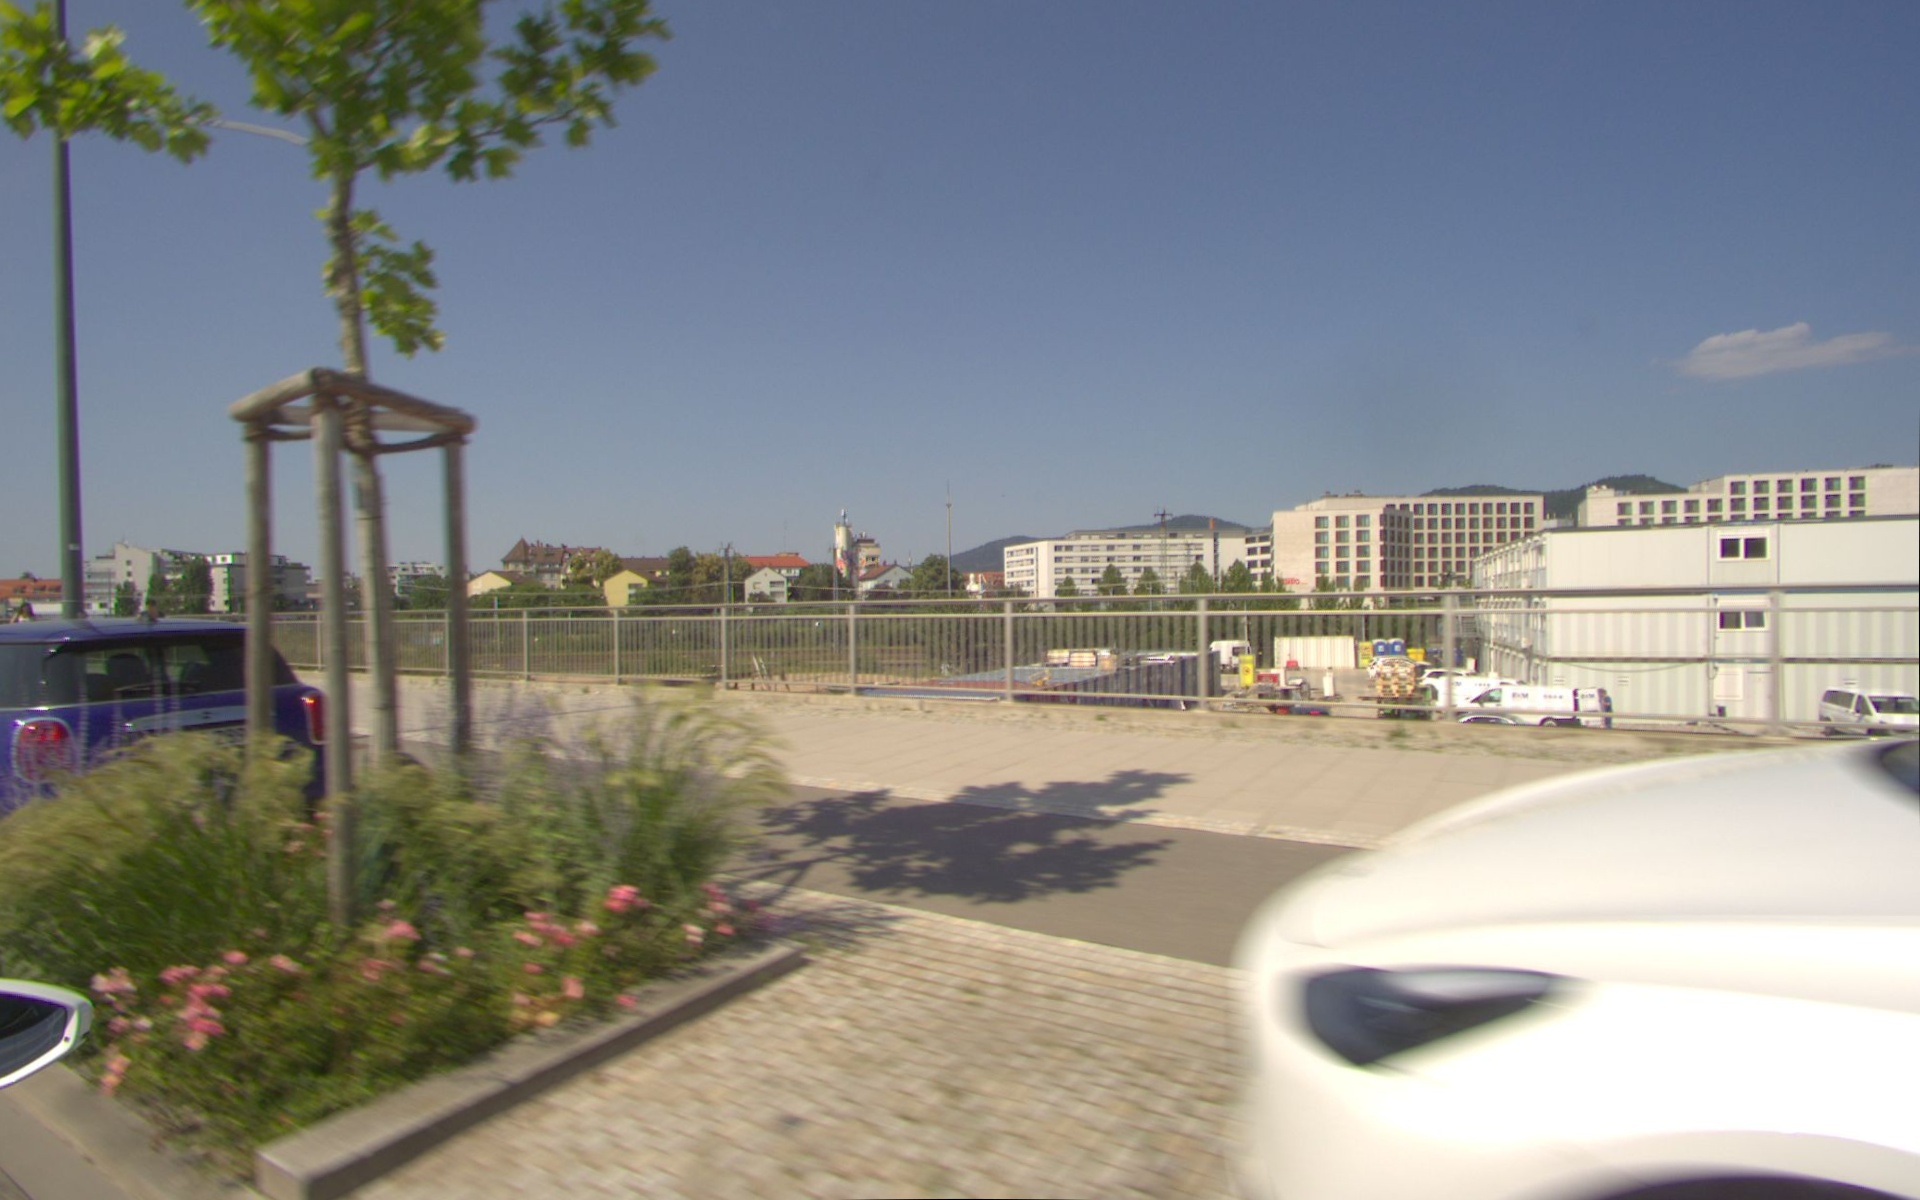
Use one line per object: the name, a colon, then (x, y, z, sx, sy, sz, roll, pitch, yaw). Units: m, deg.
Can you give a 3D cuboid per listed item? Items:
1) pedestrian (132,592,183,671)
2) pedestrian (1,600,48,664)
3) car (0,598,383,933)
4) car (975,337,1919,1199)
pedestrian: (-17.930, 0.709, 22.385, 0.642, 1.727, 0.730, -2, -2, 33)
pedestrian: (-25.939, 0.884, 27.767, 0.731, 1.727, 0.779, -1, -1, 33)
car: (-5.634, 0.757, 6.262, 4.100, 1.499, 1.903, 0, 1, 34)
car: (2.540, 0.583, 0.994, 4.806, 1.648, 1.869, -1, -2, 32)
